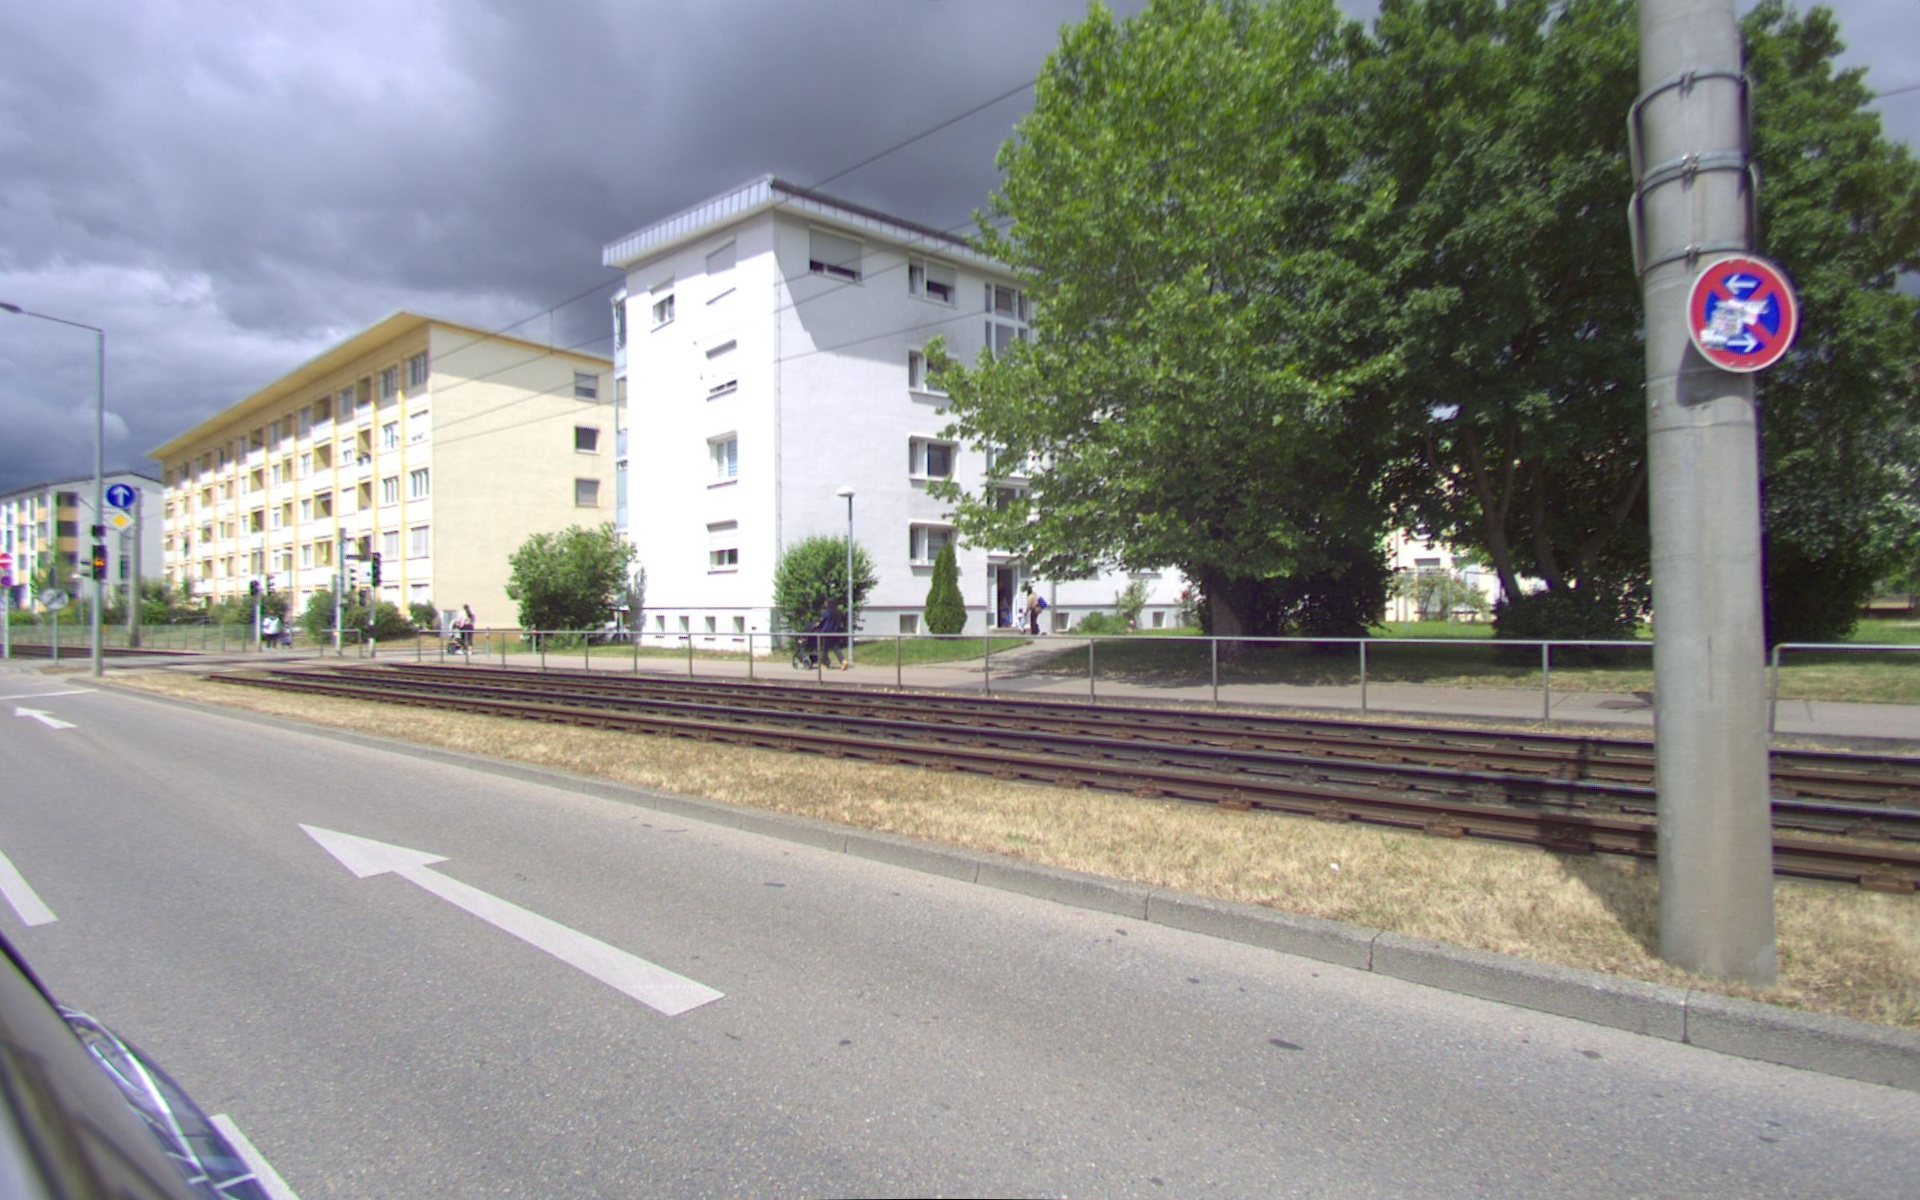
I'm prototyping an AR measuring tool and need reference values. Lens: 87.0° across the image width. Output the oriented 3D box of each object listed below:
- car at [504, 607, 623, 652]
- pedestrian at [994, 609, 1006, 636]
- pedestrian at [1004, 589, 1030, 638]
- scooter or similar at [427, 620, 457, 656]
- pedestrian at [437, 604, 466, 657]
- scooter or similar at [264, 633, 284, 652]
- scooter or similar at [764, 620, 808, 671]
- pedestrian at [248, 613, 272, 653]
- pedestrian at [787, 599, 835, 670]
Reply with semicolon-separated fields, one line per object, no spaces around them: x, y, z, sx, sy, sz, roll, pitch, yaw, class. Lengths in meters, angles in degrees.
-16.350;1.175;41.852;4.227;1.742;1.811;-1;0;-44;car
1.322;0.741;33.451;0.325;0.889;0.256;-3;5;-39;pedestrian
1.879;0.433;33.519;0.675;1.553;0.515;-3;6;-44;pedestrian
-17.530;1.284;34.245;0.891;1.172;0.602;-1;0;40;scooter or similar
-16.945;1.005;33.718;0.679;1.705;0.638;-1;0;40;pedestrian
-29.194;1.792;43.059;0.665;0.779;0.527;-1;1;39;scooter or similar
-4.002;1.036;23.259;0.820;1.123;0.598;-1;0;39;scooter or similar
-29.602;1.386;42.782;0.773;1.619;0.598;-1;1;39;pedestrian
-3.342;0.770;22.722;0.873;1.552;0.607;-1;0;39;pedestrian
